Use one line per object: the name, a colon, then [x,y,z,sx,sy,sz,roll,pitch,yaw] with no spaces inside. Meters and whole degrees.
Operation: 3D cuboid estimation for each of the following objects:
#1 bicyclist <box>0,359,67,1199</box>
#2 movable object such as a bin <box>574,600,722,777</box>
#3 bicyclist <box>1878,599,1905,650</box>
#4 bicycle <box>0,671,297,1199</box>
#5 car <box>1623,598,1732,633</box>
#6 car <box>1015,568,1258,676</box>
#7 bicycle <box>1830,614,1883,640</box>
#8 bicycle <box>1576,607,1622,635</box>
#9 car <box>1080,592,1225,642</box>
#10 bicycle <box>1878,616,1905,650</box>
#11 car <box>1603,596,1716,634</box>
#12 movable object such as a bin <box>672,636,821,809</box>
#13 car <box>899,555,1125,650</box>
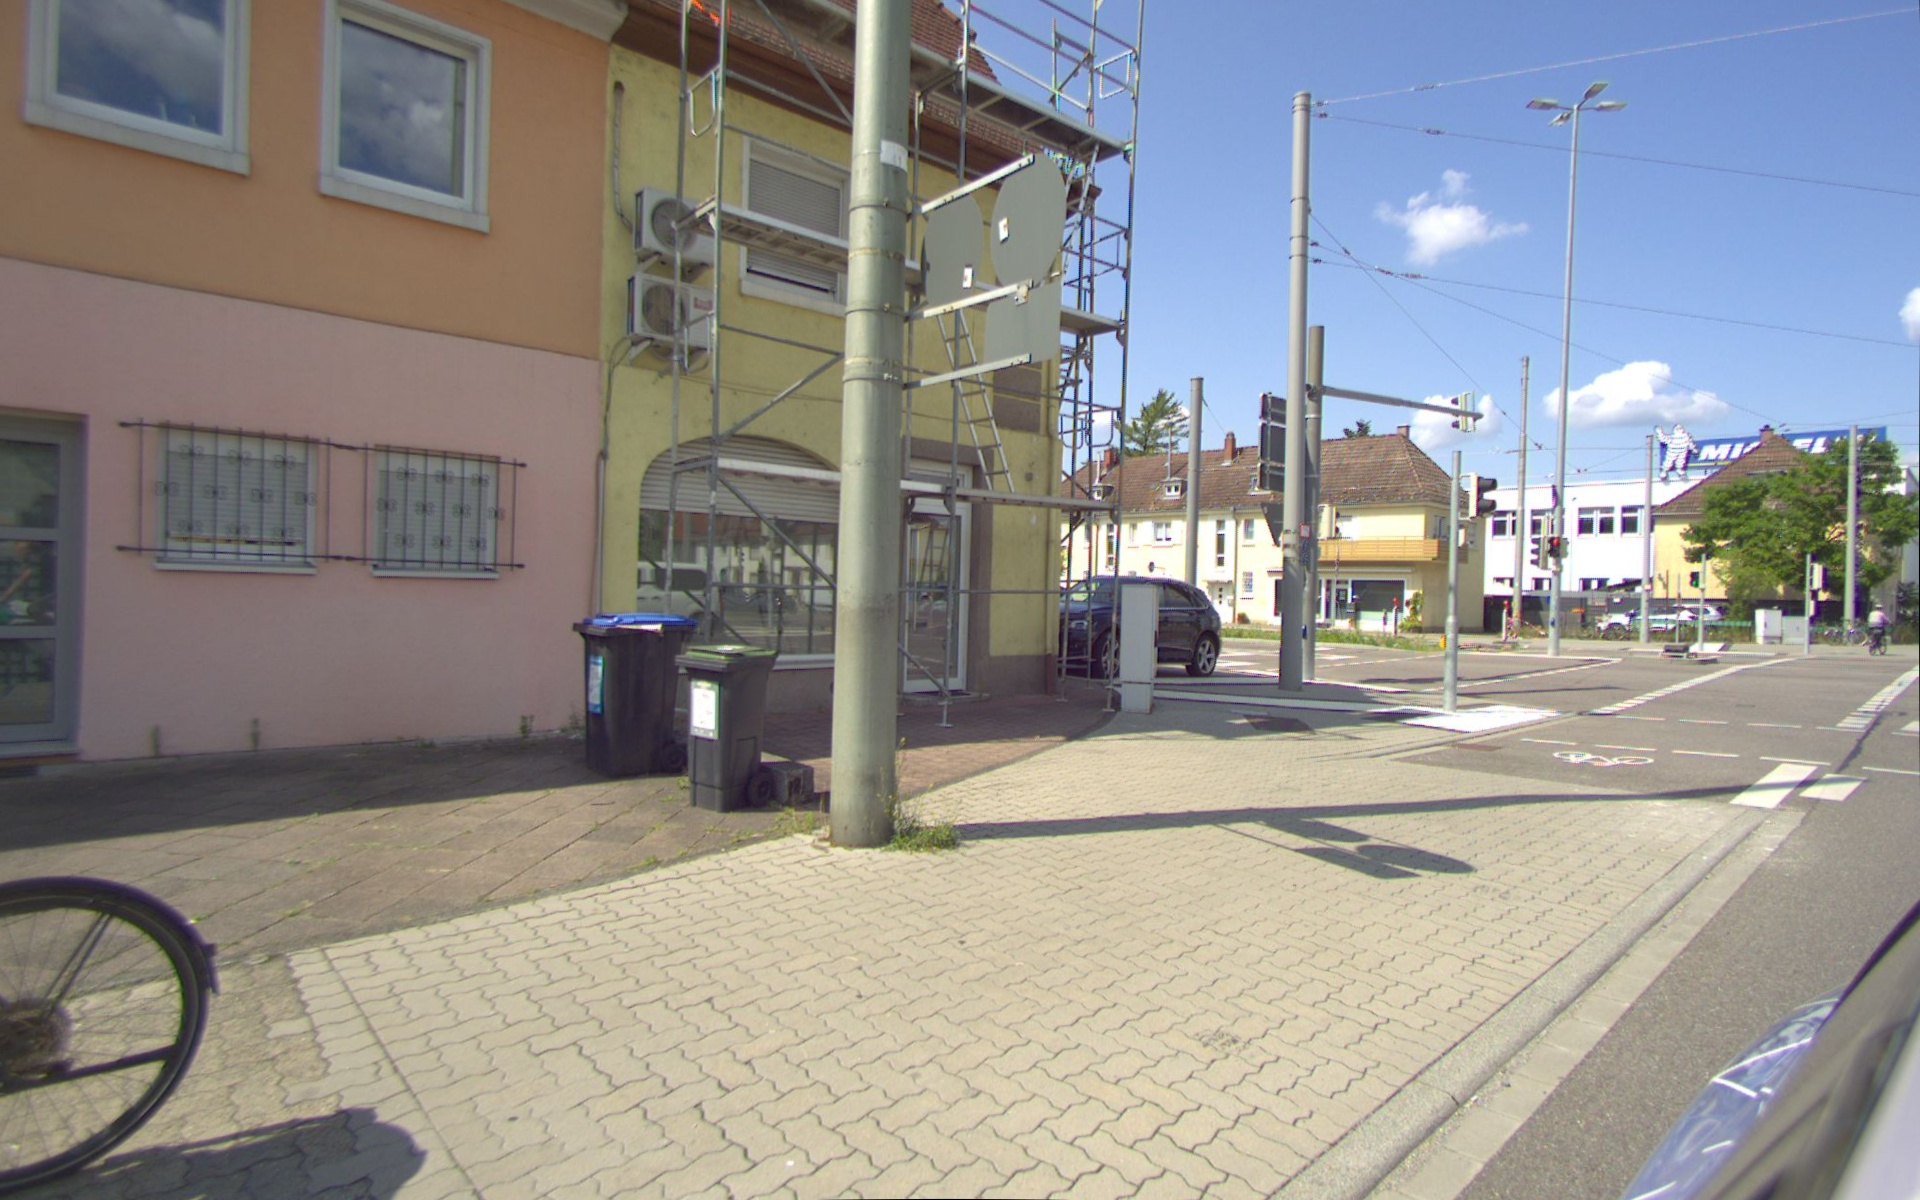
bicyclist: [-2.452,0.427,1.944,1.065,1.816,0.829,1,1,-43]
movable object such as a bin: [-2.140,0.569,6.958,0.840,1.119,0.512,0,0,-40]
bicyclist: [32.534,0.836,35.368,0.650,1.760,0.969,-1,-1,42]
bicycle: [-2.490,0.754,1.928,1.937,1.088,0.829,1,1,-42]
car: [34.428,0.718,48.611,4.105,1.617,1.772,1,0,44]
car: [3.092,0.325,17.327,4.059,1.616,1.997,-1,0,-41]
bicycle: [36.071,1.092,40.736,1.722,1.031,0.463,-1,-1,-1]
bicycle: [26.601,0.884,42.127,1.555,1.152,0.378,-1,-1,22]
car: [5.994,0.486,31.881,1.711,1.345,4.320,0,2,-43]
bicycle: [32.381,1.139,35.186,0.650,1.132,1.564,-1,-1,42]
car: [32.328,0.664,46.842,4.105,1.617,1.772,1,0,44]
movable object such as a bin: [-1.282,0.702,6.097,0.728,0.930,0.512,0,0,-40]
car: [1.051,0.031,19.307,4.059,1.616,1.997,-1,0,-41]
